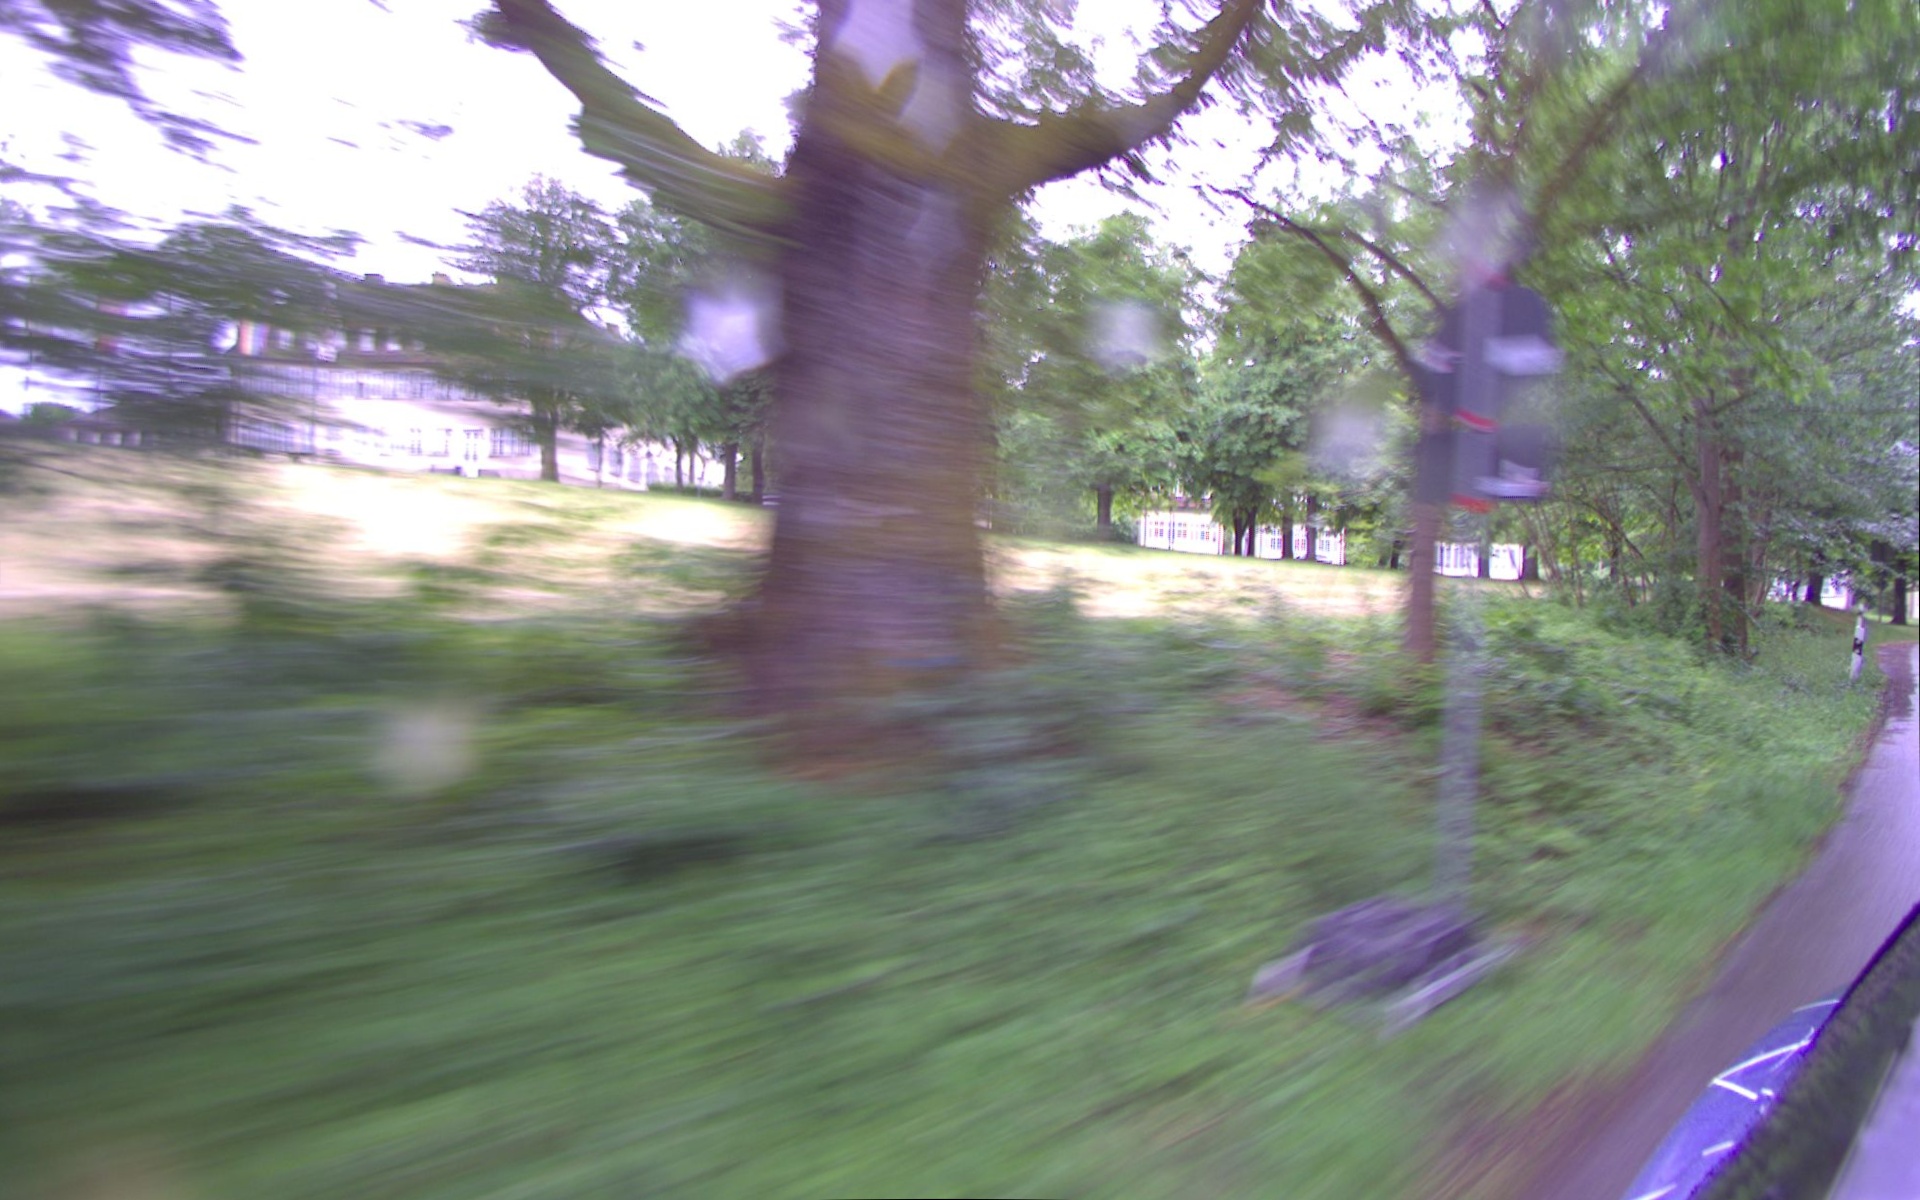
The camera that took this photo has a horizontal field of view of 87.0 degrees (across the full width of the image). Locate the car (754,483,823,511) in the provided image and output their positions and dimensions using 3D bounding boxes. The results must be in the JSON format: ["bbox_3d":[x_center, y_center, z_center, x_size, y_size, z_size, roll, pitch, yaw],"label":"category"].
[{"bbox_3d":[-11.690,-7.017,69.169,4.216,1.444,2.001,5,4,2],"label":"car"}]
